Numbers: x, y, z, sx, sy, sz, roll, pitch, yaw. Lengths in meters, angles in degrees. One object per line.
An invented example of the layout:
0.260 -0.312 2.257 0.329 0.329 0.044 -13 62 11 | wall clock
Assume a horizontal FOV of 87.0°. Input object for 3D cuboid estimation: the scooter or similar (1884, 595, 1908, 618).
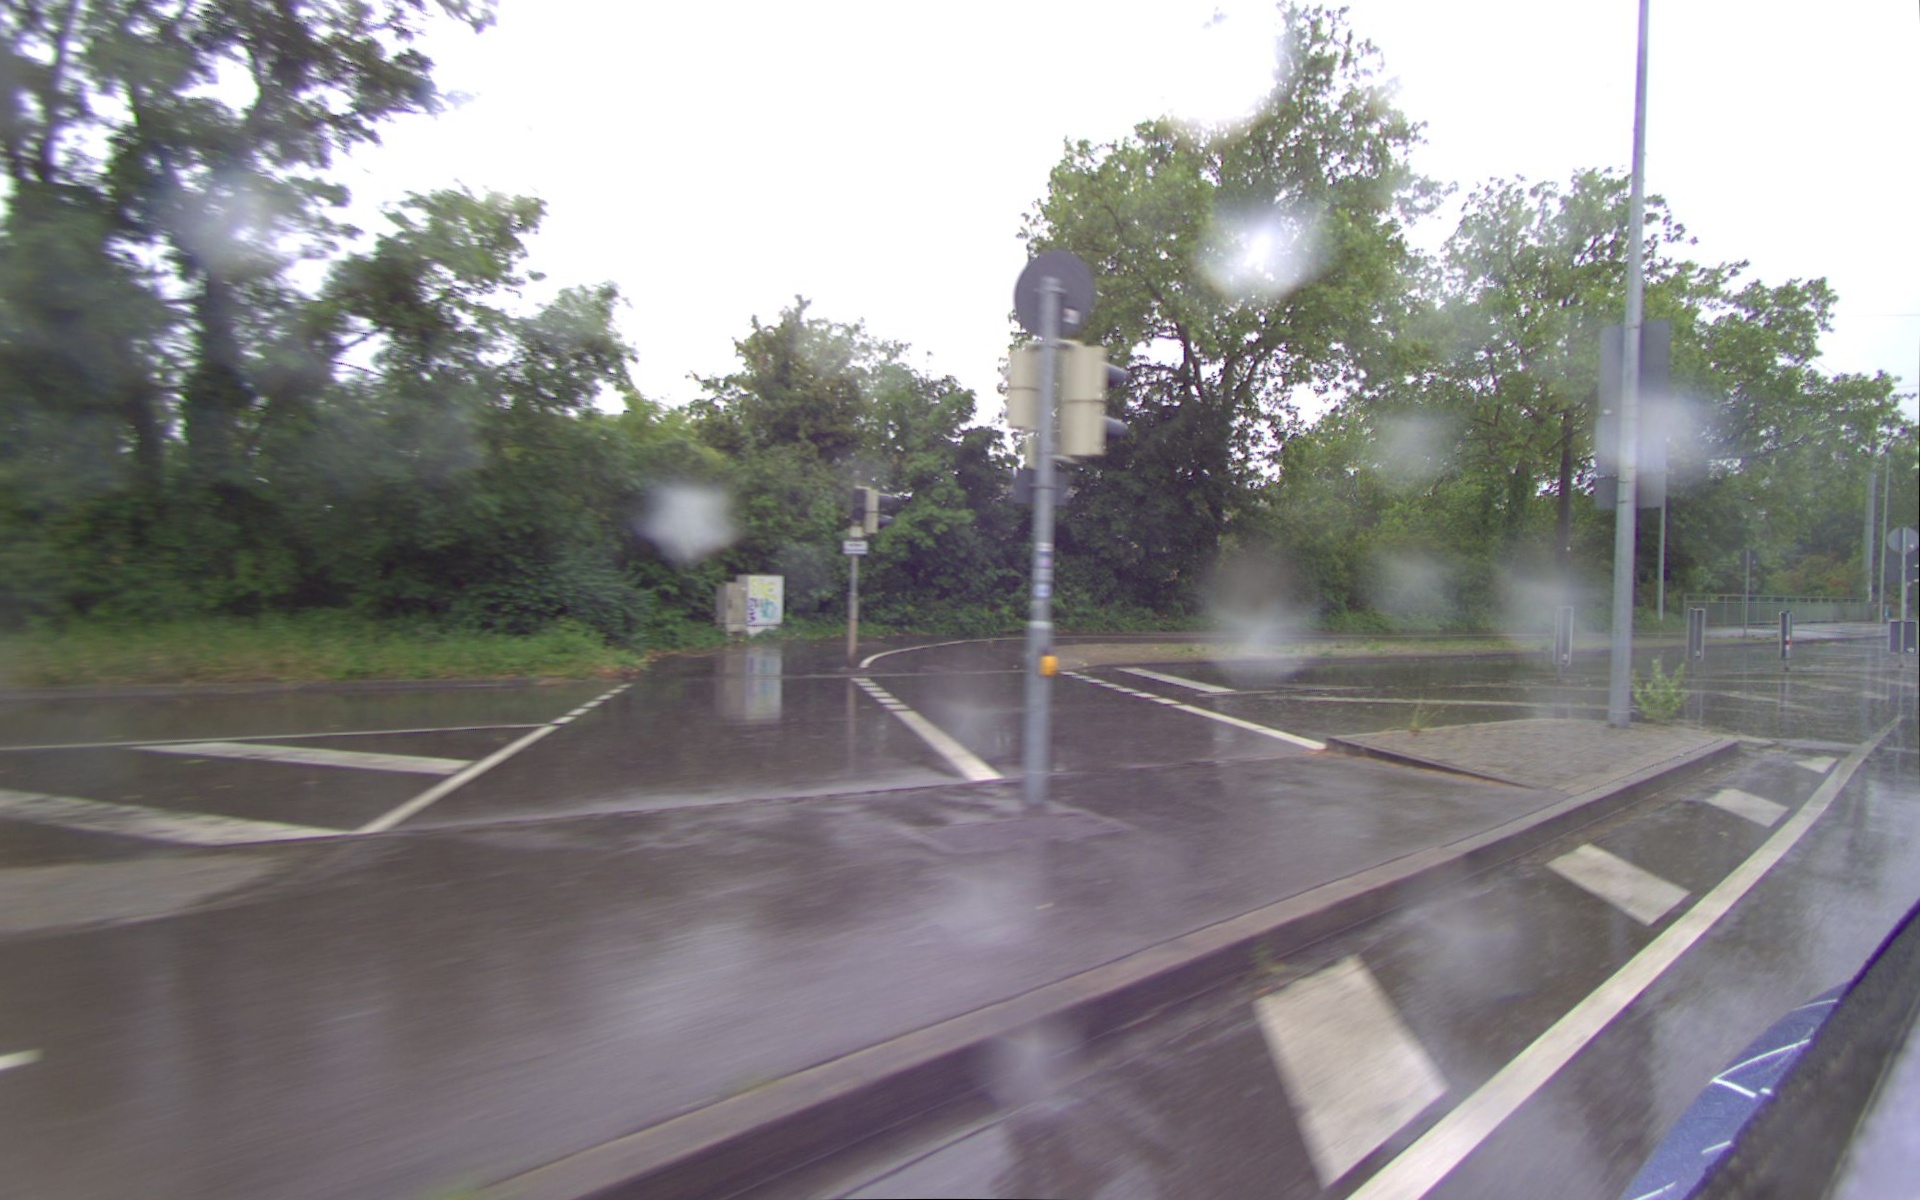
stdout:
54.716 0.346 59.134 1.616 1.309 0.761 0 1 -37 | scooter or similar
